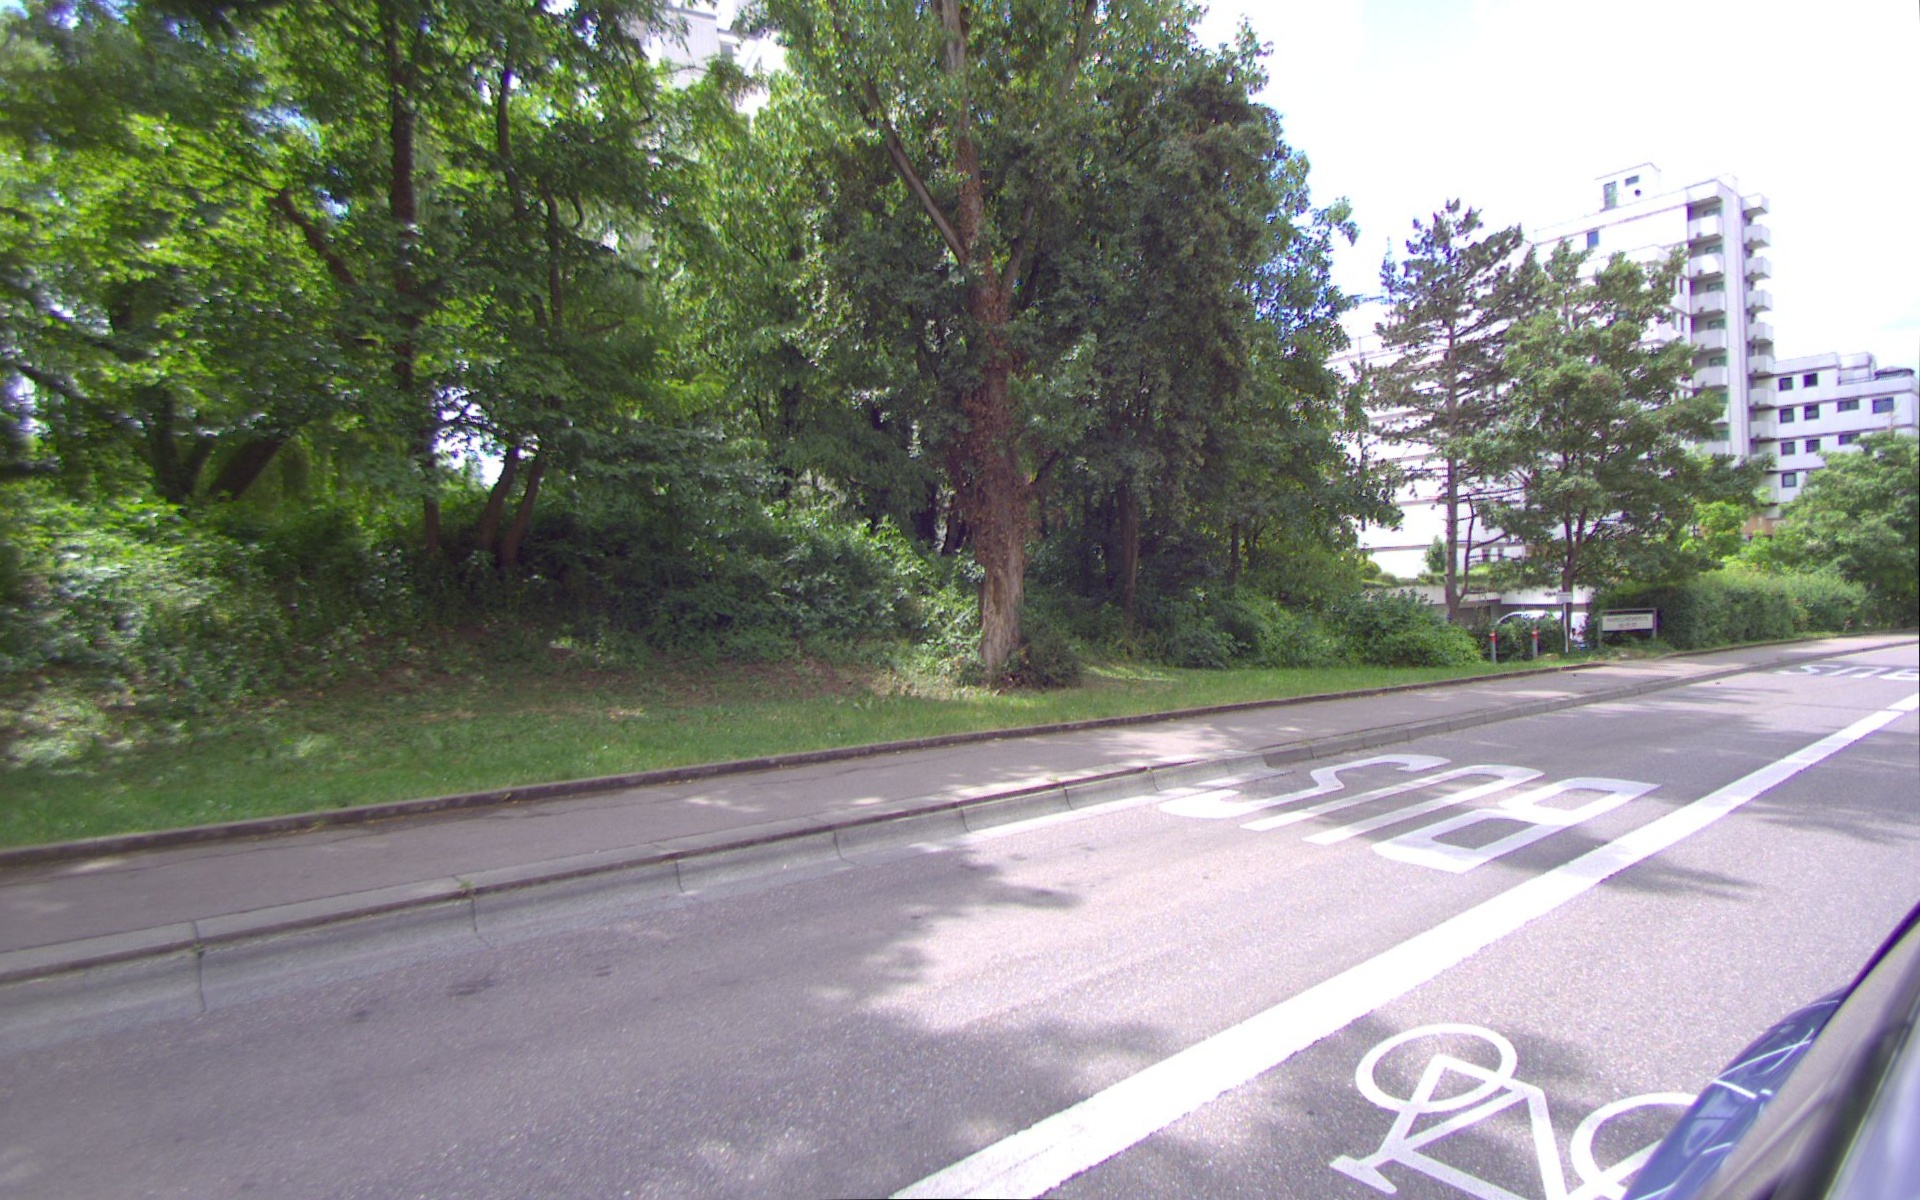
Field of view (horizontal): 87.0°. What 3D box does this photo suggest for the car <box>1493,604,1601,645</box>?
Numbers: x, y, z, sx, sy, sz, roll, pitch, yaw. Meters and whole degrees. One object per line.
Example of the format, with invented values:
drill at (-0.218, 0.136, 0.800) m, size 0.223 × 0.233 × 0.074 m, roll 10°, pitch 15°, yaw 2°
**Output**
car at (31.042, 1.232, 53.641) m, size 1.962 × 2.039 × 4.549 m, roll -1°, pitch 0°, yaw -34°
